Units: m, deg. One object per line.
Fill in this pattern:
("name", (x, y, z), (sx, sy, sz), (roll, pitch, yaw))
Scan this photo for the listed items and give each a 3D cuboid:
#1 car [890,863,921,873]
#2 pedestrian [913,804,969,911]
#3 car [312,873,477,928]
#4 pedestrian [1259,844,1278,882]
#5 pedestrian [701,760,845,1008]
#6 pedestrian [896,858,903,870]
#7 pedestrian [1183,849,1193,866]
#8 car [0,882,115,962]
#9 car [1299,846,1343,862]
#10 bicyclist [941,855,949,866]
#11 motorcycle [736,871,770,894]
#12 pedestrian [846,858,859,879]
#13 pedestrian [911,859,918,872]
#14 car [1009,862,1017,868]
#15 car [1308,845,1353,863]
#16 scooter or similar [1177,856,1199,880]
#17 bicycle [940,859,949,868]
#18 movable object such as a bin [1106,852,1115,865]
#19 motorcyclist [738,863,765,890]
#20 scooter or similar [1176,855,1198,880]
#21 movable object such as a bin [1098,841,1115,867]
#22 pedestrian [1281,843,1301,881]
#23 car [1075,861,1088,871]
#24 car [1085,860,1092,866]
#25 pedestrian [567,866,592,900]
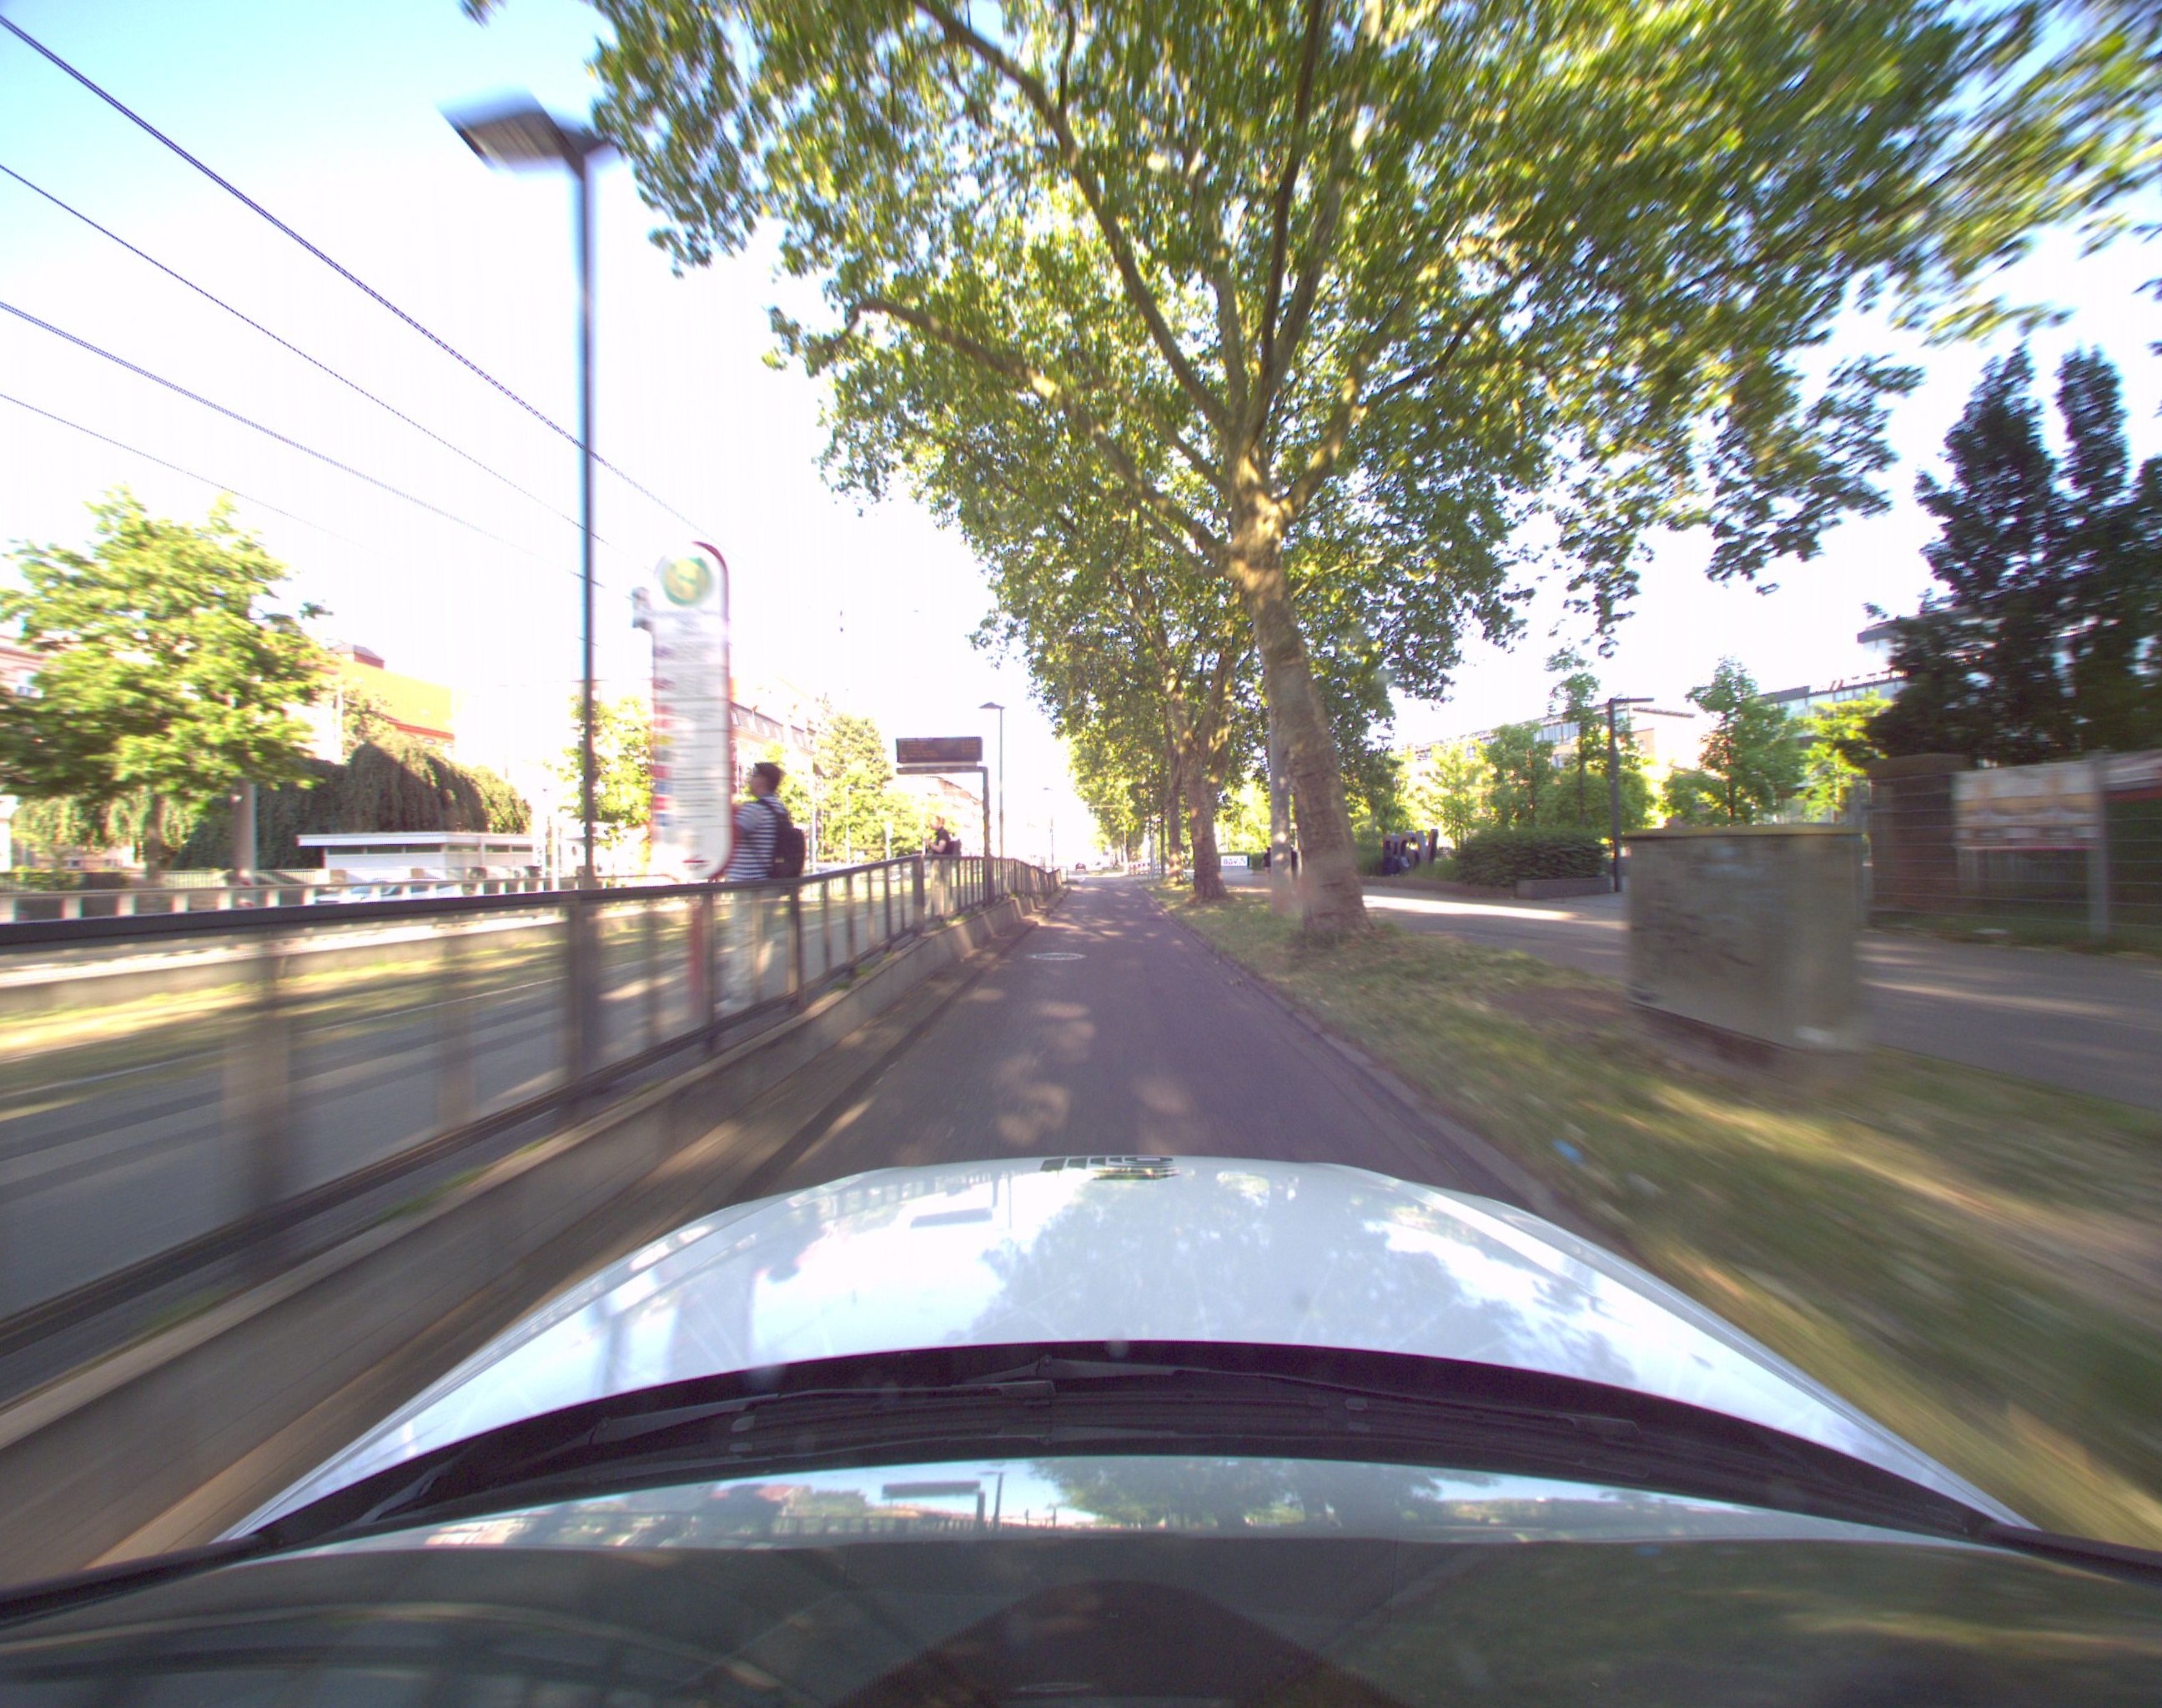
("car", (-25.771, 2.056, 119.720), (4.138, 1.471, 2.012), (-1, -1, 30))
("pedestrian", (-2.265, 0.063, 13.234), (0.754, 1.690, 0.678), (1, -1, 1))
("car", (-22.538, 1.465, 26.963), (1.713, 1.586, 4.071), (1, -1, 6))
("pedestrian", (8.377, 0.420, 36.479), (0.625, 1.656, 0.740), (-3, -1, 1))
("pedestrian", (-2.240, 0.208, 6.025), (0.676, 1.690, 0.895), (1, -1, 2))
("pedestrian", (-24.045, 1.332, 107.985), (0.648, 1.539, 0.783), (-2, -1, 0))
("pedestrian", (11.286, 0.353, 85.871), (0.802, 1.793, 1.110), (-3, -1, 2))
("car", (-23.179, 1.434, 16.667), (1.713, 1.586, 4.071), (1, -1, 6))
("car", (27.776, 0.006, 94.426), (4.686, 1.713, 1.836), (-3, 0, -19))
("bicyclist", (-18.326, 0.862, 109.570), (0.772, 1.481, 1.134), (1, -1, 1))
("motorcycle", (-16.322, 1.388, 40.543), (0.816, 1.073, 2.399), (1, -1, -3))
("pedestrian", (-22.292, 1.403, 79.541), (0.855, 1.928, 1.086), (-2, -1, 0))
("pedestrian", (-22.033, 1.504, 107.721), (0.648, 1.775, 0.888), (-2, -1, 0))
("car", (-17.421, 2.770, 209.743), (1.735, 1.560, 3.768), (1, 0, 1))
("car", (28.161, -0.009, 91.865), (4.686, 1.713, 1.836), (-3, 0, -19))
("scooter or similar", (5.725, 0.758, 43.576), (1.047, 1.244, 0.842), (-2, -1, 4))
("bicycle", (-18.340, 1.264, 109.434), (0.772, 1.193, 1.756), (1, -1, 1))
("movable object such as a bin", (7.065, 1.090, 195.463), (1.961, 3.013, 4.797), (-4, -1, 1))
("motorcyclist", (-16.308, 1.105, 40.327), (0.816, 1.300, 1.275), (1, -1, -3))
("scooter or similar", (5.549, 0.686, 42.687), (1.047, 1.244, 0.842), (-2, -1, 4))
("movable object such as a bin", (5.425, 0.089, 173.326), (3.076, 5.088, 8.893), (-4, -1, 1))
("pedestrian", (9.358, 0.363, 36.296), (0.647, 1.656, 0.783), (-2, -1, 1))
("car", (0.070, 2.064, 138.780), (1.986, 1.684, 4.001), (1, -1, 2))
("car", (2.483, 2.994, 260.775), (1.990, 1.860, 3.993), (1, -1, -5))
("pedestrian", (-25.193, 1.431, 40.887), (0.723, 1.647, 0.811), (-2, -1, -5))
